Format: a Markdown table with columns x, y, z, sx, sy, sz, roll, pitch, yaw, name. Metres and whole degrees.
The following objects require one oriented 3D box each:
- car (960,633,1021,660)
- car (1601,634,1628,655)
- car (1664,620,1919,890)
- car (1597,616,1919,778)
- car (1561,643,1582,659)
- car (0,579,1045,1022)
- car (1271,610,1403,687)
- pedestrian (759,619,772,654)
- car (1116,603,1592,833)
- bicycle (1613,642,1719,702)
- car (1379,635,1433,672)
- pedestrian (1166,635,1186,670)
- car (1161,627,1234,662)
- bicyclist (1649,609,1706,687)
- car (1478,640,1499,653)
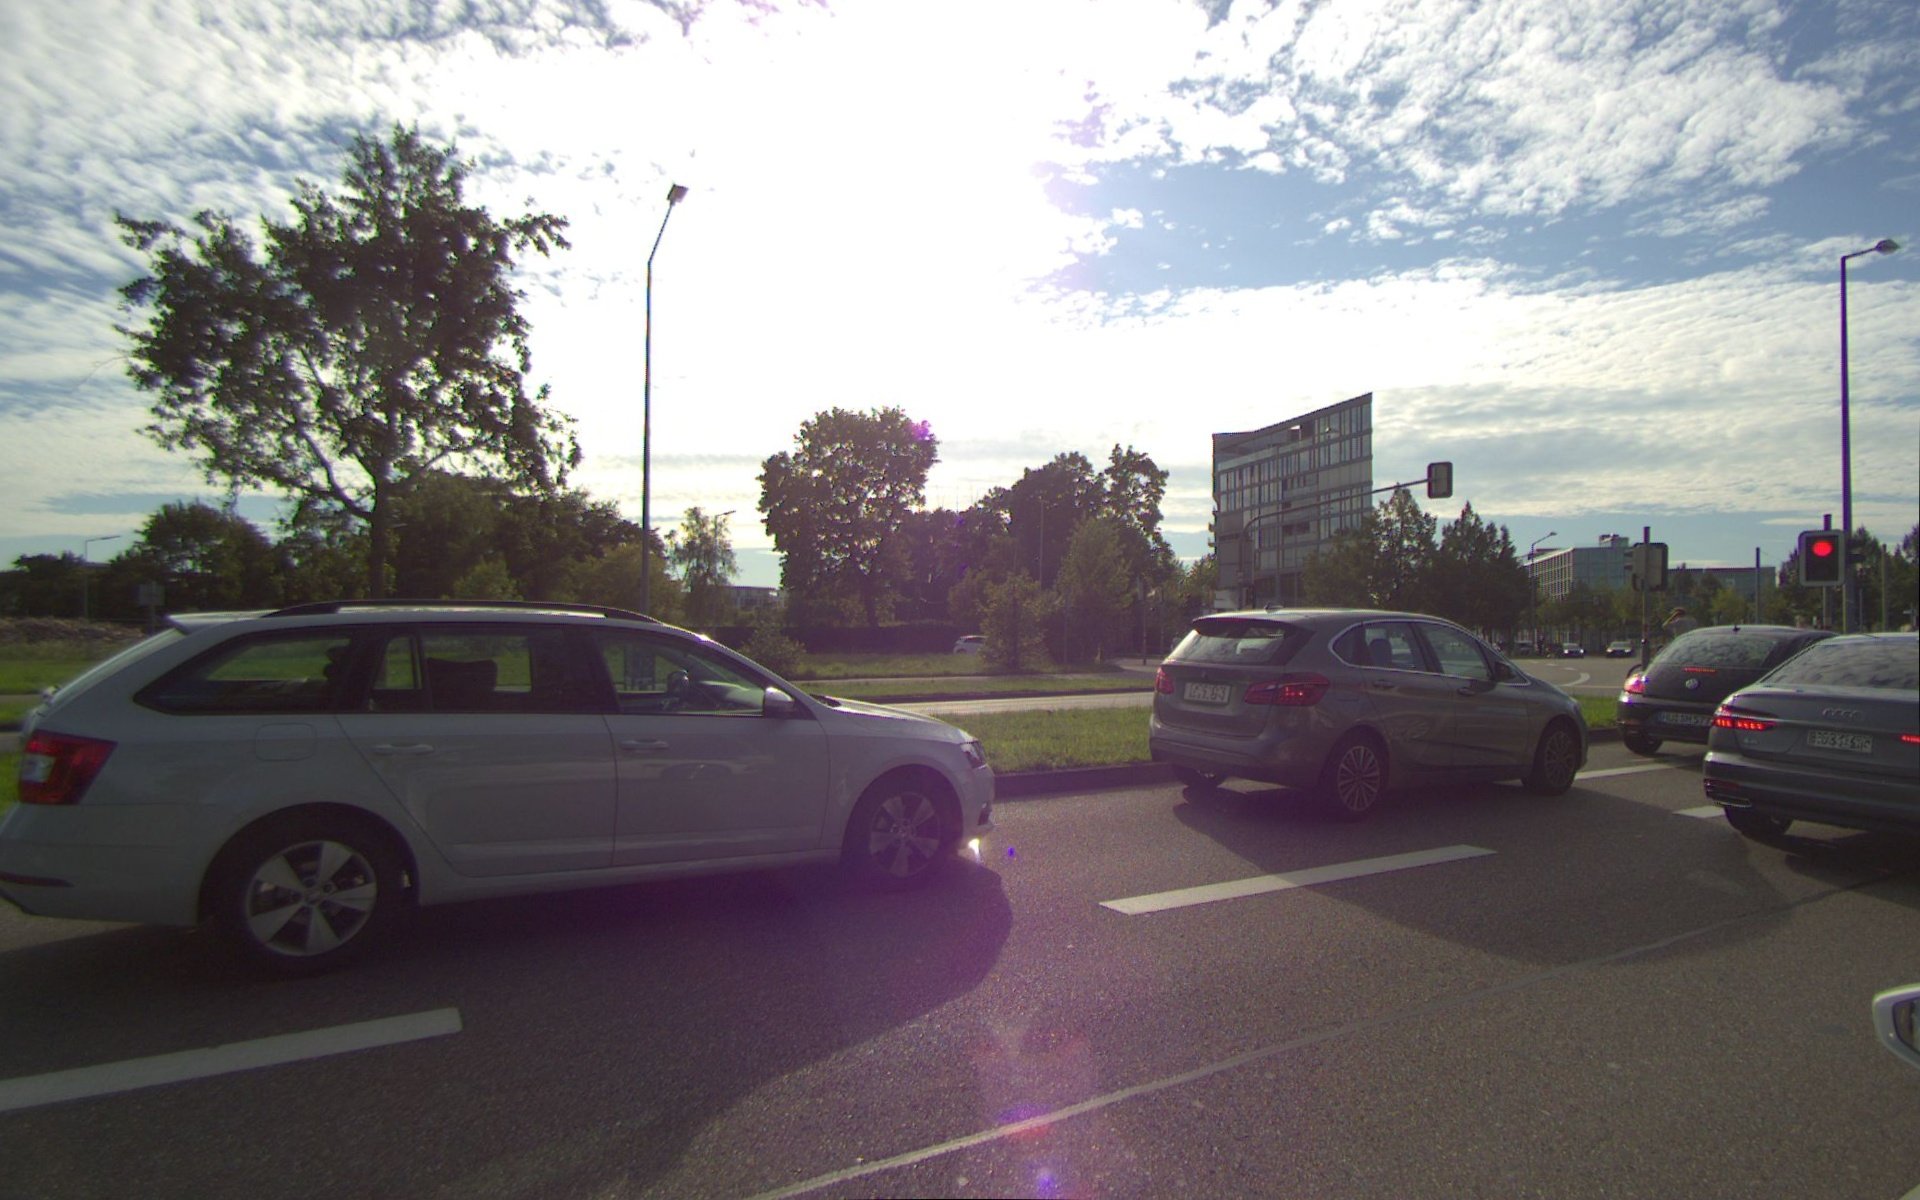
| x | y | z | sx | sy | sz | roll | pitch | yaw | name |
| --- | --- | --- | --- | --- | --- | --- | --- | --- | --- |
| 1.862 | 2.867 | 61.630 | 3.431 | 1.613 | 1.594 | 0 | -2 | 18 | car |
| 51.729 | 3.486 | 79.446 | 1.682 | 1.594 | 3.991 | -1 | -2 | 32 | car |
| 7.200 | 0.949 | 7.148 | 4.559 | 1.502 | 1.881 | 2 | -1 | -31 | car |
| 9.122 | 0.995 | 11.407 | 3.766 | 1.543 | 1.672 | 2 | -1 | -31 | car |
| 56.509 | 4.655 | 92.785 | 1.570 | 1.433 | 3.661 | -1 | -2 | 32 | car |
| -1.854 | 0.758 | 5.284 | 4.429 | 1.518 | 1.690 | 2 | -1 | -31 | car |
| 12.201 | 1.565 | 32.283 | 1.971 | 2.264 | 5.894 | -3 | -4 | 41 | car |
| -11.350 | 2.130 | 58.608 | 0.675 | 2.040 | 0.641 | 0 | -2 | -5 | pedestrian |
| 3.449 | 0.862 | 8.636 | 3.971 | 1.579 | 1.721 | 2 | -1 | -30 | car |
| 14.544 | 1.460 | 20.711 | 1.707 | 1.179 | 0.652 | -1 | -2 | 45 | bicycle |
| 18.149 | 2.161 | 40.976 | 1.877 | 1.452 | 4.226 | -1 | -3 | 23 | car |
| 9.875 | 2.390 | 45.920 | 0.610 | 1.589 | 0.650 | 2 | -2 | -37 | pedestrian |
| 13.708 | 2.561 | 58.019 | 3.920 | 1.793 | 1.712 | 2 | -1 | 19 | car |
| 14.697 | 0.976 | 20.579 | 0.840 | 1.546 | 0.736 | -1 | -3 | 44 | bicyclist |
| 69.755 | 6.088 | 132.581 | 1.678 | 1.713 | 4.002 | 0 | -2 | 16 | car |
